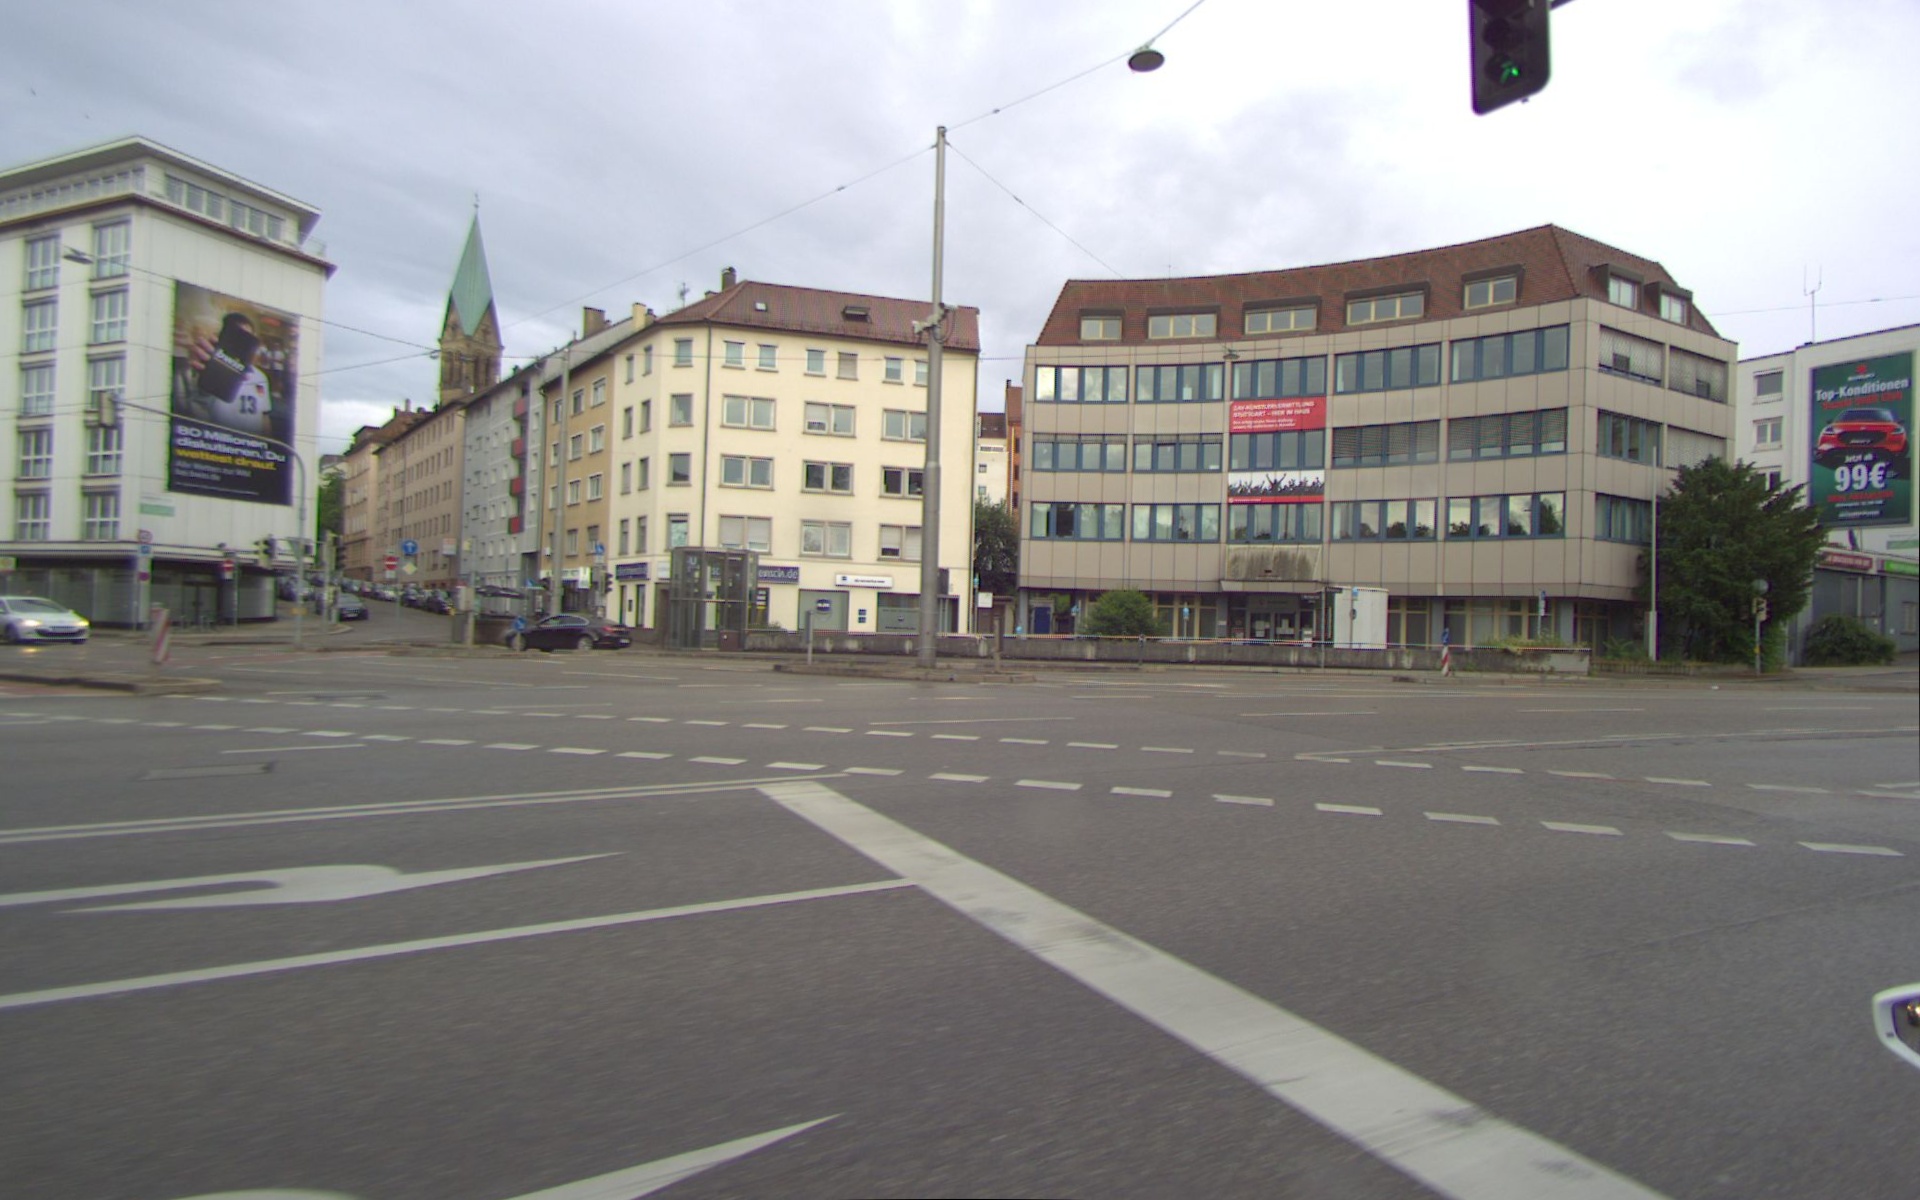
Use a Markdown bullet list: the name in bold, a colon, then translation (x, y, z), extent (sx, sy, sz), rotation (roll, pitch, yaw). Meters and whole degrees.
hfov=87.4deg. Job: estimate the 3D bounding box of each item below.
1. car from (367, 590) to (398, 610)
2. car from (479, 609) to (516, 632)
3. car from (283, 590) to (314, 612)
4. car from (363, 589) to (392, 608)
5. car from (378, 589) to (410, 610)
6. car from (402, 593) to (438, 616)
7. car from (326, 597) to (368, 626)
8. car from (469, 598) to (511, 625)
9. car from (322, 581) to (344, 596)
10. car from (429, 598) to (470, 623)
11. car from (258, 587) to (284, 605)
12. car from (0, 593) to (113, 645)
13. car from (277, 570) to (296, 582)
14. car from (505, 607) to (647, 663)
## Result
- **car**: translation (-50.853, -0.048, 88.421), extent (1.900, 1.611, 3.960), rotation (3, -1, -35)
- **car**: translation (-27.047, 1.195, 58.739), extent (1.391, 1.246, 3.133), rotation (3, -2, -35)
- **car**: translation (-52.531, 0.098, 79.792), extent (1.900, 1.611, 3.960), rotation (3, -1, -35)
- **car**: translation (-53.521, -0.155, 92.219), extent (1.900, 1.611, 3.960), rotation (3, -1, -35)
- **car**: translation (-47.719, -0.045, 84.640), extent (1.900, 1.611, 3.960), rotation (3, -1, -35)
- **car**: translation (-41.339, 0.314, 76.825), extent (1.900, 1.611, 3.960), rotation (3, -1, -35)
- **car**: translation (-36.932, 0.731, 60.483), extent (1.900, 1.611, 3.961), rotation (3, -2, -35)
- **car**: translation (-30.033, 0.726, 64.108), extent (1.744, 1.611, 3.760), rotation (3, -2, -35)
- **car**: translation (-73.010, -1.361, 117.011), extent (1.900, 1.611, 3.960), rotation (3, -1, -35)
- **car**: translation (-34.826, 0.761, 68.492), extent (1.900, 1.611, 3.961), rotation (3, -3, -35)
- **car**: translation (-65.069, -0.401, 94.873), extent (1.900, 1.611, 3.960), rotation (3, -1, -35)
- **car**: translation (-28.334, 0.569, 30.710), extent (4.146, 1.470, 2.000), rotation (1, -2, 22)
- **car**: translation (-103.081, -3.696, 153.633), extent (1.904, 1.611, 3.952), rotation (3, -1, -40)
- **car**: translation (-13.975, 1.291, 36.654), extent (4.350, 1.867, 2.002), rotation (1, -2, 8)
